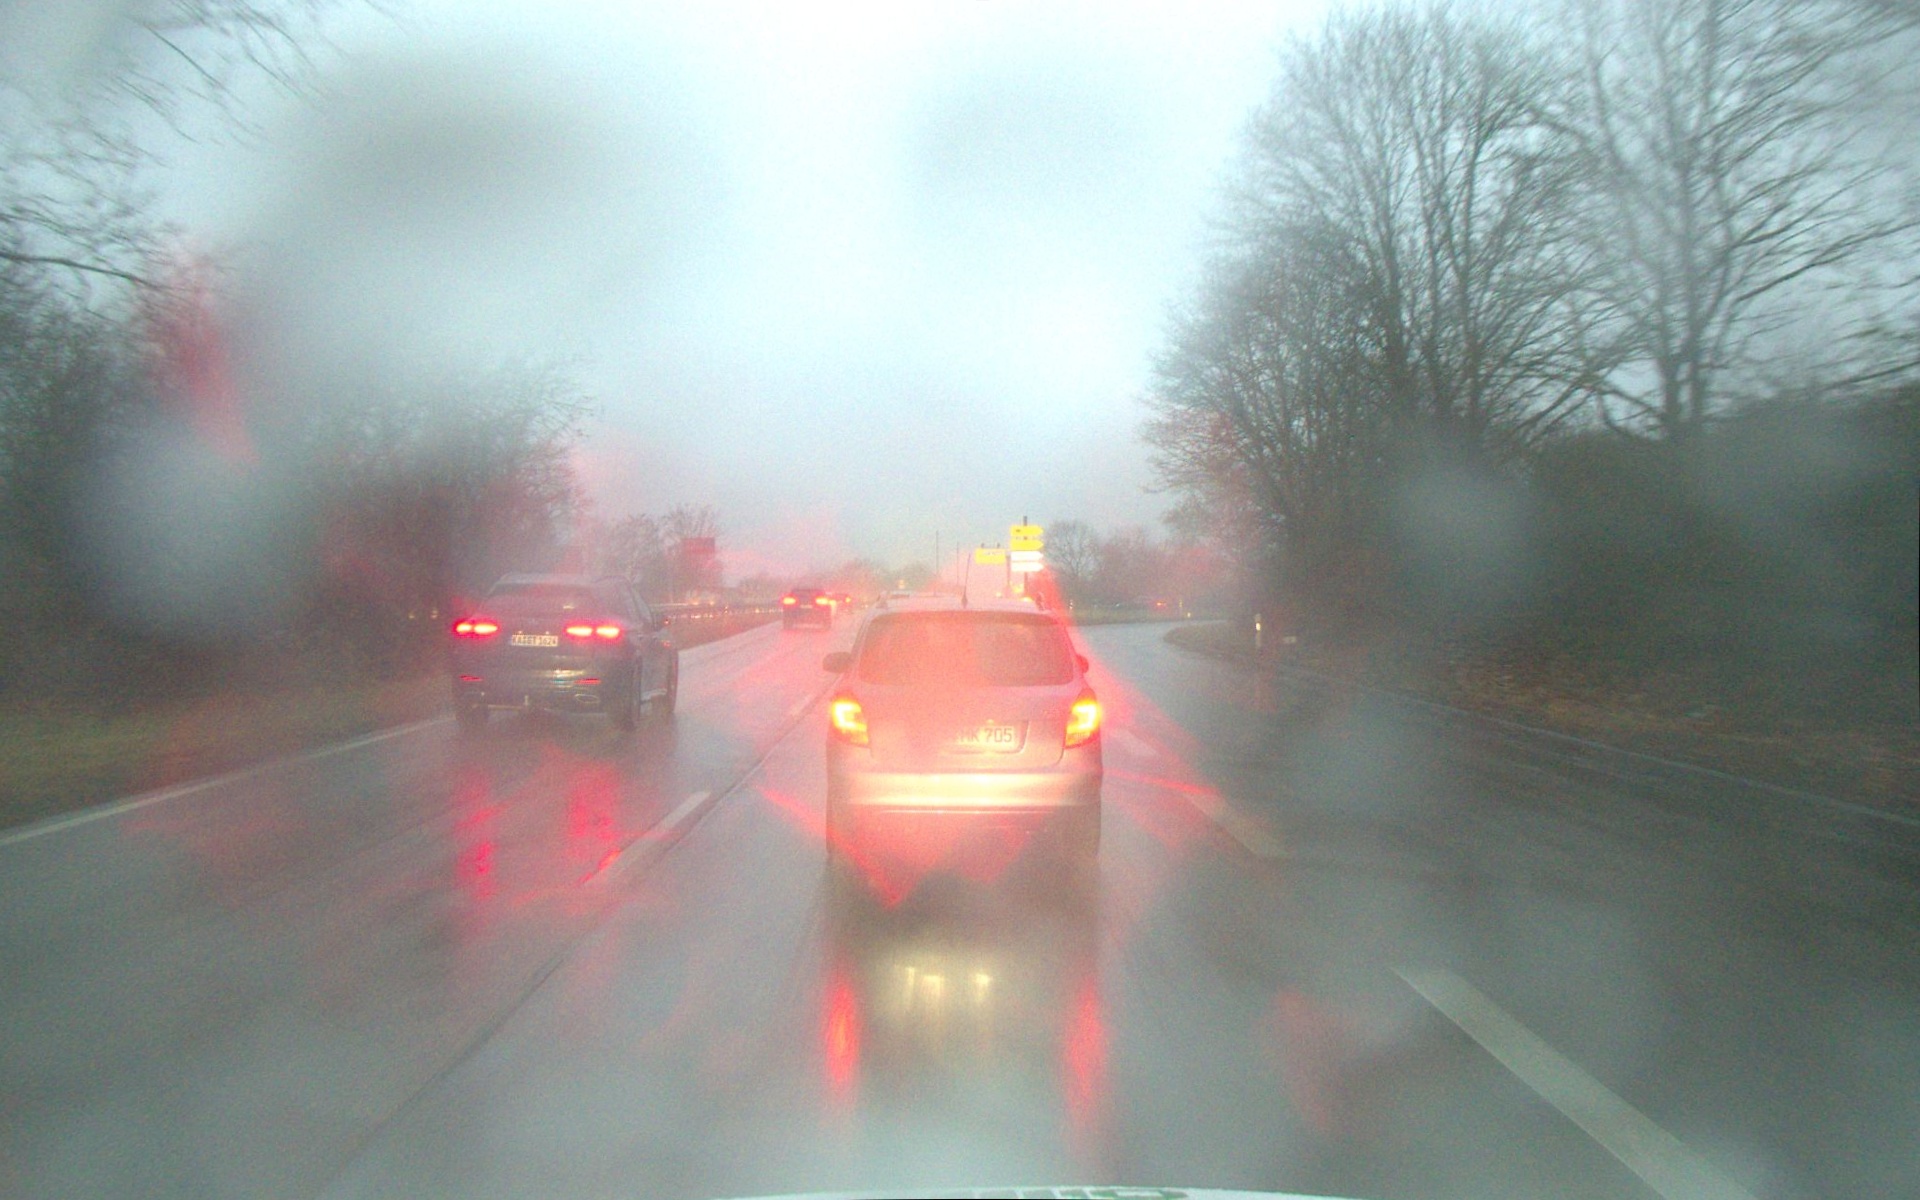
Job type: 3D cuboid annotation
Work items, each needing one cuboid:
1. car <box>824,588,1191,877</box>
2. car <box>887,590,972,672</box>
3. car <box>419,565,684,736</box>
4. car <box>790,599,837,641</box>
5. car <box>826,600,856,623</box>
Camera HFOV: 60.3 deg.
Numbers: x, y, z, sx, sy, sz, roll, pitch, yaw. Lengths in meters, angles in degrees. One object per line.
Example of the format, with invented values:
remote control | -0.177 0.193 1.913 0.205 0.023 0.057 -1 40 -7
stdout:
car | 0.248 0.720 10.900 1.953 1.527 4.137 0 0 0
car | -0.680 0.680 38.456 1.858 1.798 4.308 0 0 0
car | -4.358 0.497 18.353 1.953 1.629 4.307 2 0 -2
car | -5.764 0.762 65.203 1.754 1.572 3.996 0 0 -5
car | -8.069 0.796 112.546 1.753 1.509 3.999 -1 0 -1
